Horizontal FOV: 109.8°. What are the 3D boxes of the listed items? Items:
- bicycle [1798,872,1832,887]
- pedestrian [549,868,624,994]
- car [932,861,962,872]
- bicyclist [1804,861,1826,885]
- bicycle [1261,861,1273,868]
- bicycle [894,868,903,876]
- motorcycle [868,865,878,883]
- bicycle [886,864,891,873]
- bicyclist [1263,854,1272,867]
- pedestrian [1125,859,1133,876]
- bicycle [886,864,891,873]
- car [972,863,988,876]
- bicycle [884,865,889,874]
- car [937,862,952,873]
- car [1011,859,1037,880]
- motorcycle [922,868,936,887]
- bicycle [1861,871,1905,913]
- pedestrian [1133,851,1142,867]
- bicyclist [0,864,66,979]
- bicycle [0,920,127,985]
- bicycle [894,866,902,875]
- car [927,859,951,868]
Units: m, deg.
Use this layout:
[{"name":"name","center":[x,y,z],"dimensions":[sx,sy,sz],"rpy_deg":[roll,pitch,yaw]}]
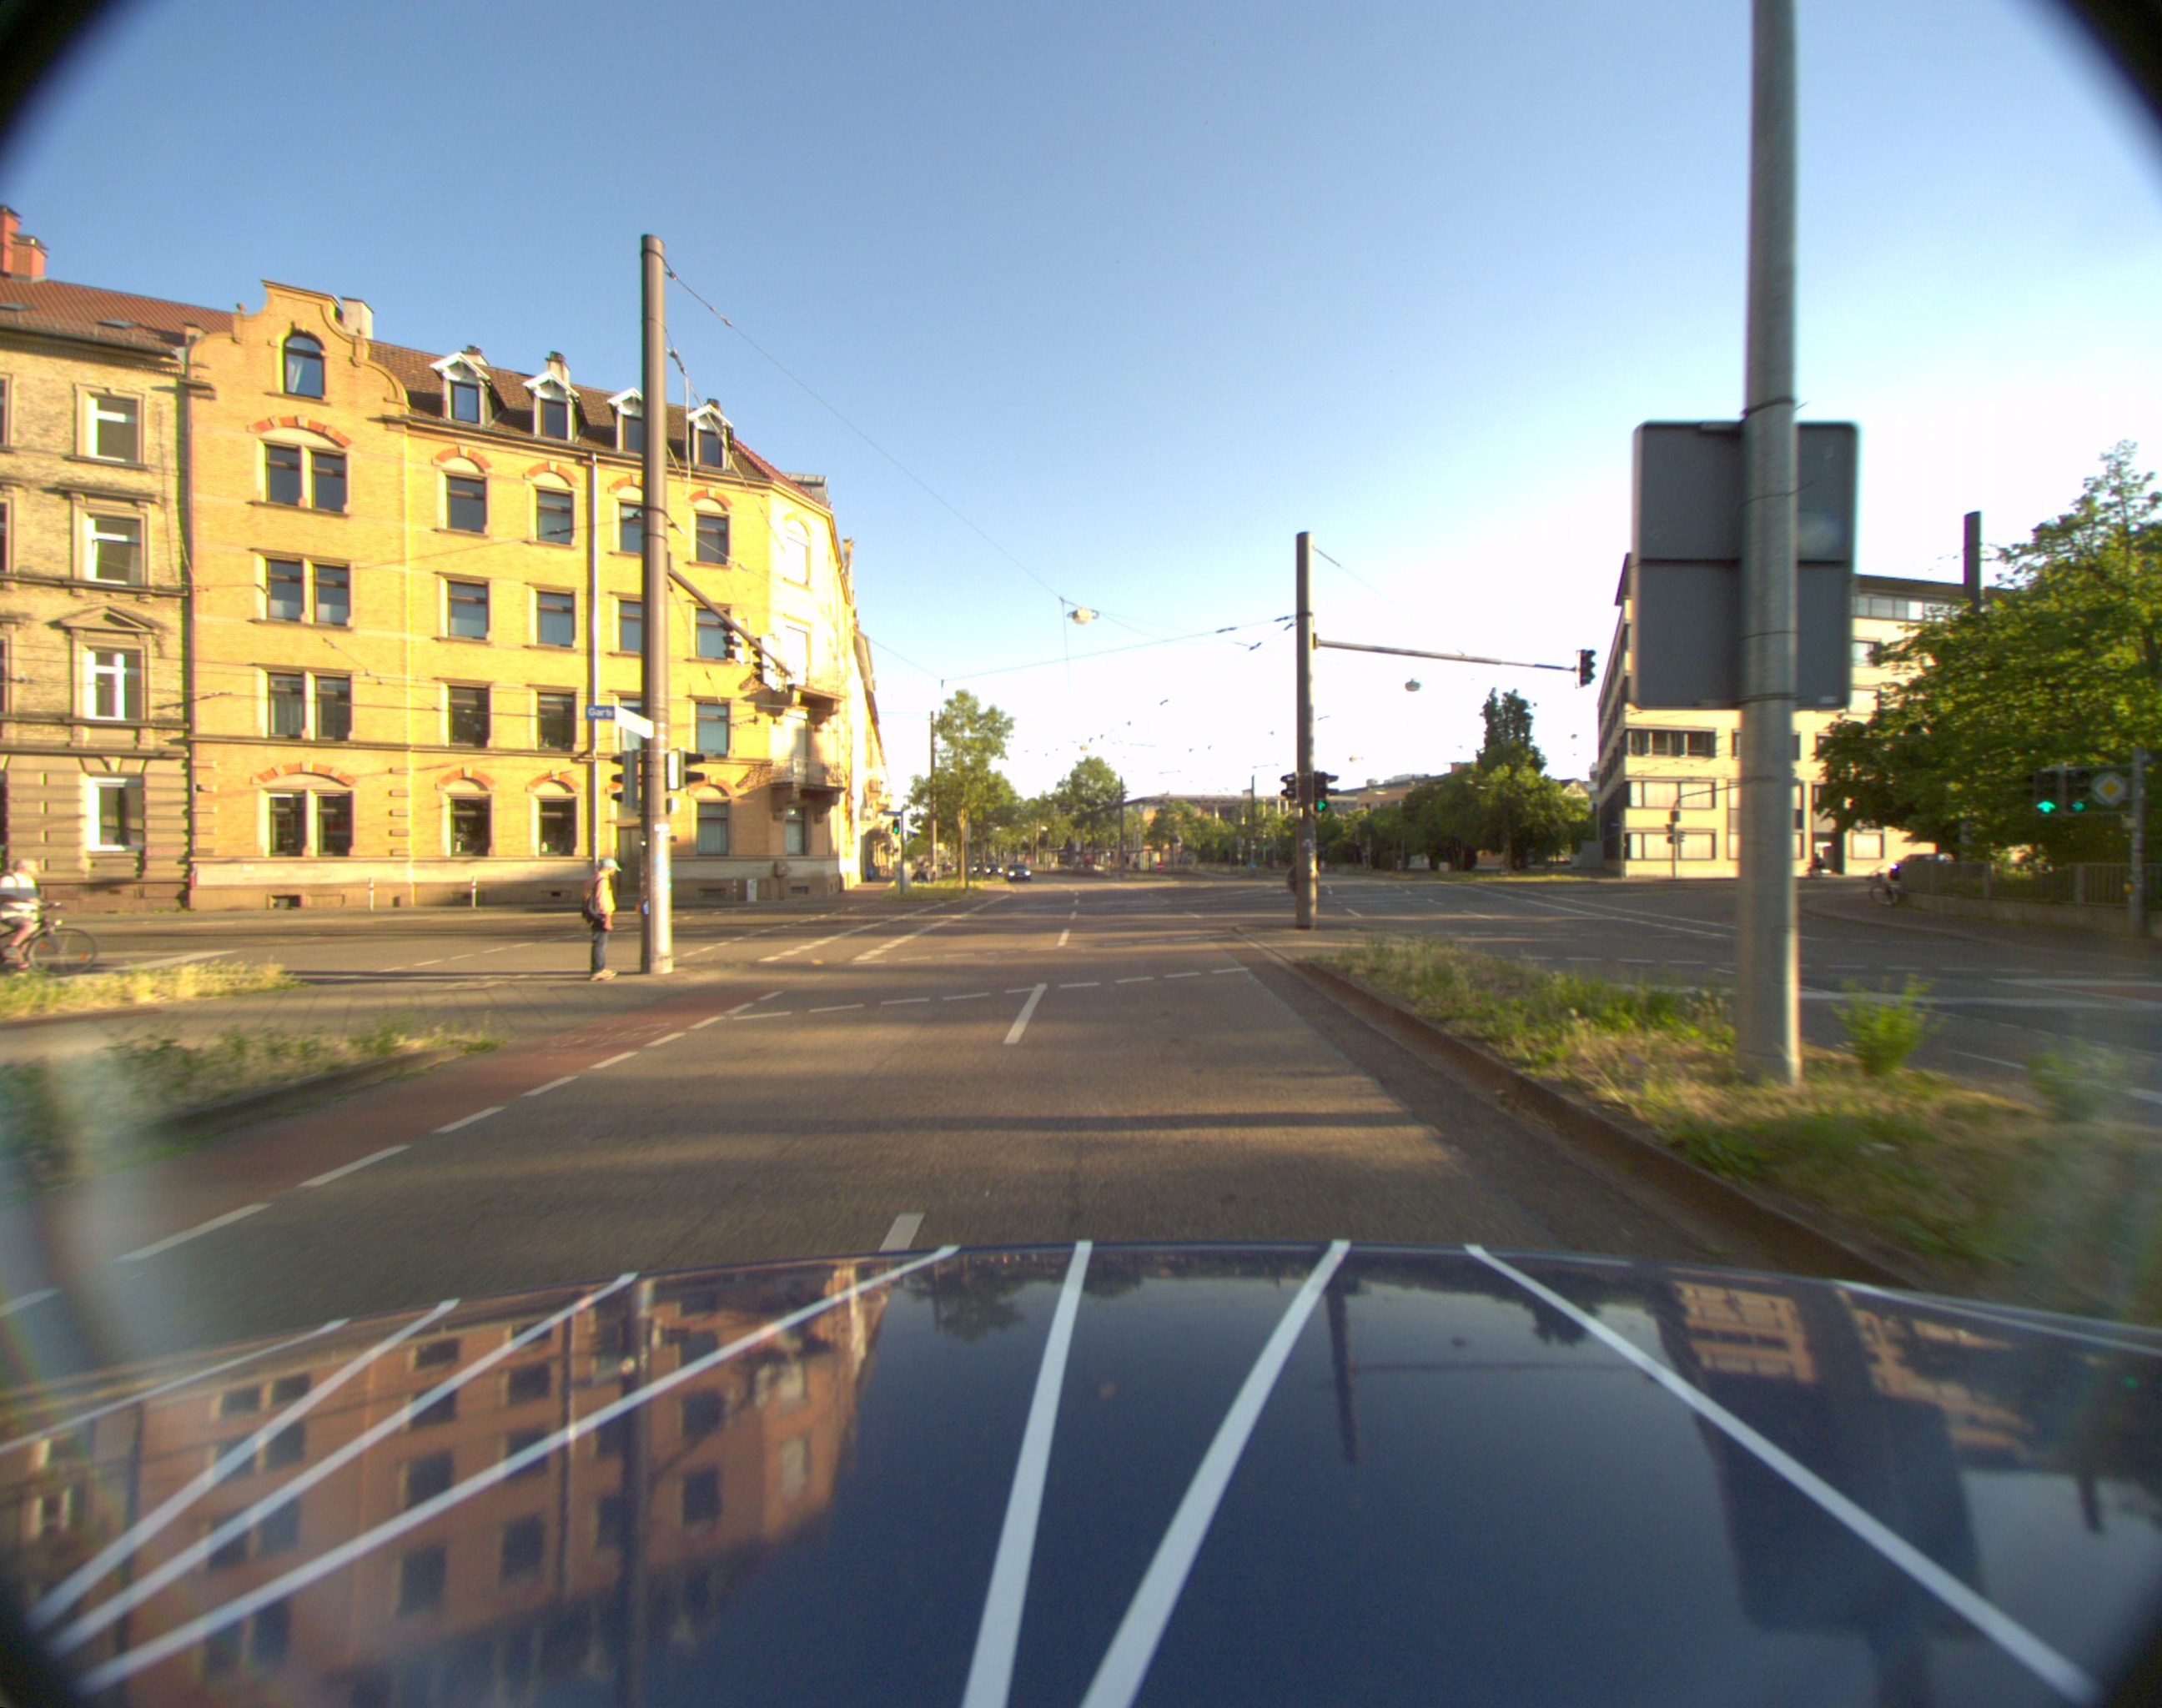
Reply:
[{"name":"bicycle","center":[44.702,1.549,46.303],"dimensions":[1.692,0.828,0.657],"rpy_deg":[0,0,-12]},{"name":"pedestrian","center":[-6.584,0.998,10.149],"dimensions":[0.553,1.619,0.699],"rpy_deg":[0,0,-3]},{"name":"car","center":[-21.825,1.975,123.593],"dimensions":[4.332,1.562,2.005],"rpy_deg":[-2,-1,20]},{"name":"bicyclist","center":[44.750,1.126,46.308],"dimensions":[0.744,1.444,0.667],"rpy_deg":[0,0,-12]},{"name":"bicycle","center":[22.666,1.251,92.645],"dimensions":[0.777,0.816,1.964],"rpy_deg":[-1,0,-10]},{"name":"bicycle","center":[-20.208,1.980,84.133],"dimensions":[0.875,0.910,2.082],"rpy_deg":[1,0,-11]},{"name":"motorcycle","center":[-15.148,1.440,55.368],"dimensions":[0.555,1.207,2.070],"rpy_deg":[-2,1,-14]},{"name":"bicycle","center":[-26.017,1.932,102.793],"dimensions":[0.485,1.158,1.744],"rpy_deg":[5,-1,-12]},{"name":"bicyclist","center":[22.684,0.790,92.533],"dimensions":[0.770,1.459,0.827],"rpy_deg":[-1,0,-10]},{"name":"pedestrian","center":[5.960,1.663,94.046],"dimensions":[0.772,2.002,1.126],"rpy_deg":[-1,0,-10]},{"name":"bicycle","center":[-25.616,1.875,100.934],"dimensions":[0.485,1.158,1.744],"rpy_deg":[5,-1,-12]},{"name":"car","center":[-13.747,2.082,103.444],"dimensions":[1.999,1.655,3.998],"rpy_deg":[0,0,-5]},{"name":"bicycle","center":[-24.143,1.908,94.487],"dimensions":[0.485,0.999,1.744],"rpy_deg":[-1,0,-12]},{"name":"car","center":[-18.247,1.781,101.535],"dimensions":[1.710,1.440,4.284],"rpy_deg":[-3,0,-12]},{"name":"car","center":[-4.687,1.225,61.884],"dimensions":[1.999,1.655,3.998],"rpy_deg":[0,0,-5]},{"name":"motorcycle","center":[-8.928,1.380,44.712],"dimensions":[0.606,1.038,1.743],"rpy_deg":[-1,0,-6]},{"name":"bicycle","center":[22.944,1.059,21.771],"dimensions":[0.557,1.135,1.726],"rpy_deg":[0,0,36]},{"name":"pedestrian","center":[6.943,0.650,93.499],"dimensions":[0.772,2.002,1.126],"rpy_deg":[-1,0,-10]},{"name":"bicyclist","center":[-15.075,0.930,10.698],"dimensions":[0.696,1.574,0.636],"rpy_deg":[0,0,-21]},{"name":"bicycle","center":[-15.003,1.398,10.733],"dimensions":[1.817,0.824,0.621],"rpy_deg":[0,0,-21]},{"name":"bicycle","center":[-20.883,1.869,86.599],"dimensions":[0.736,0.942,2.337],"rpy_deg":[1,0,-9]},{"name":"car","center":[-29.908,1.989,160.040],"dimensions":[4.422,1.681,1.919],"rpy_deg":[-1,0,23]}]
